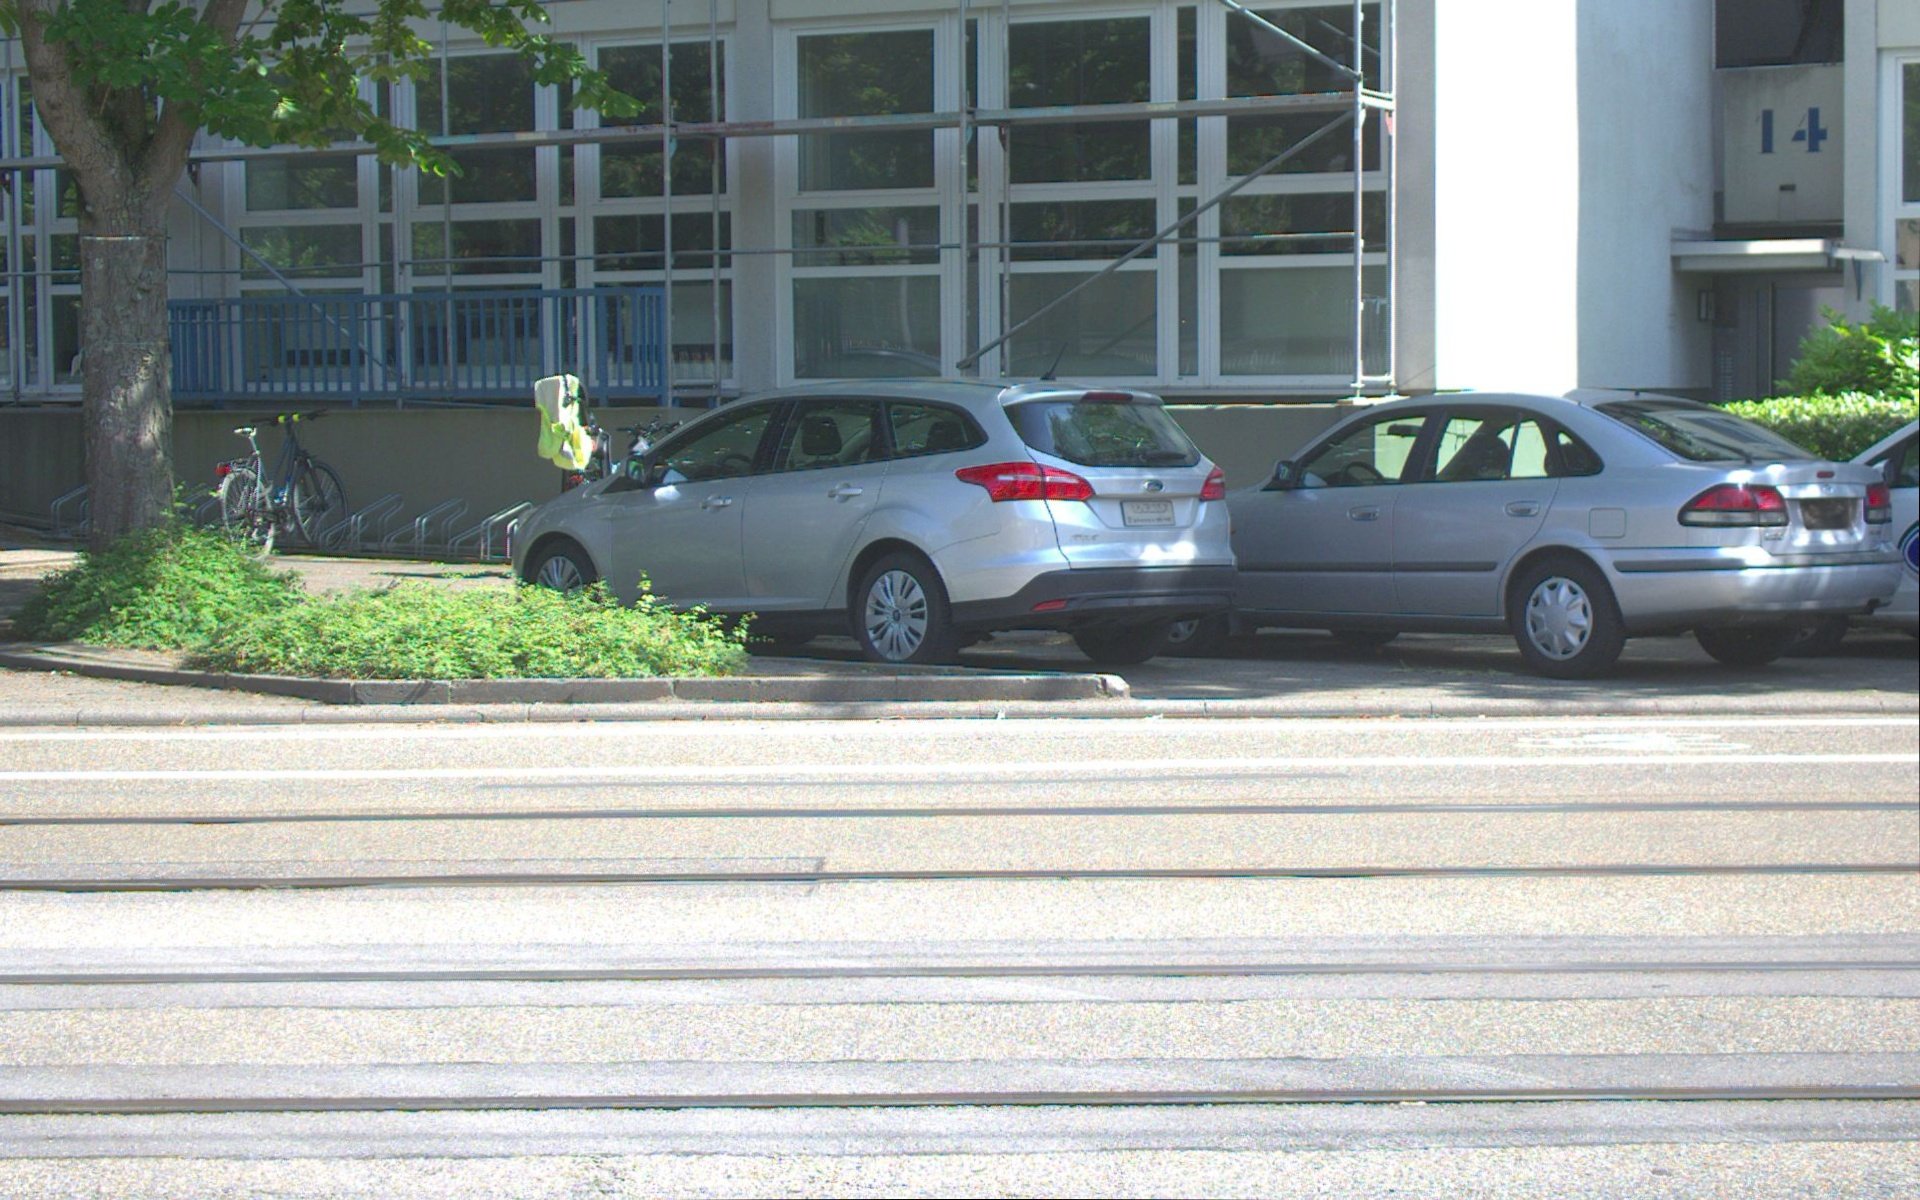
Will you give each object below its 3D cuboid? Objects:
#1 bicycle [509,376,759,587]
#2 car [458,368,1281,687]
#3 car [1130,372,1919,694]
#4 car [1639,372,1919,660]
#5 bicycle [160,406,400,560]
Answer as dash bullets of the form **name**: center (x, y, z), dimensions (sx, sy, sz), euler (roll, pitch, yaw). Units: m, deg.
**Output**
- **bicycle**: center (-2.317, -0.880, 24.720), dimensions (0.662, 1.448, 2.087), euler (1, 4, 31)
- **car**: center (-0.585, -0.461, 18.205), dimensions (4.433, 1.480, 1.780), euler (3, 5, 45)
- **car**: center (2.861, -0.420, 17.861), dimensions (1.609, 1.480, 3.943), euler (-4, 5, -43)
- **car**: center (5.693, -0.467, 18.063), dimensions (1.609, 1.481, 3.943), euler (-4, 4, -44)
- **bicycle**: center (-5.043, -0.894, 25.667), dimensions (0.741, 1.082, 2.201), euler (1, 4, 18)
